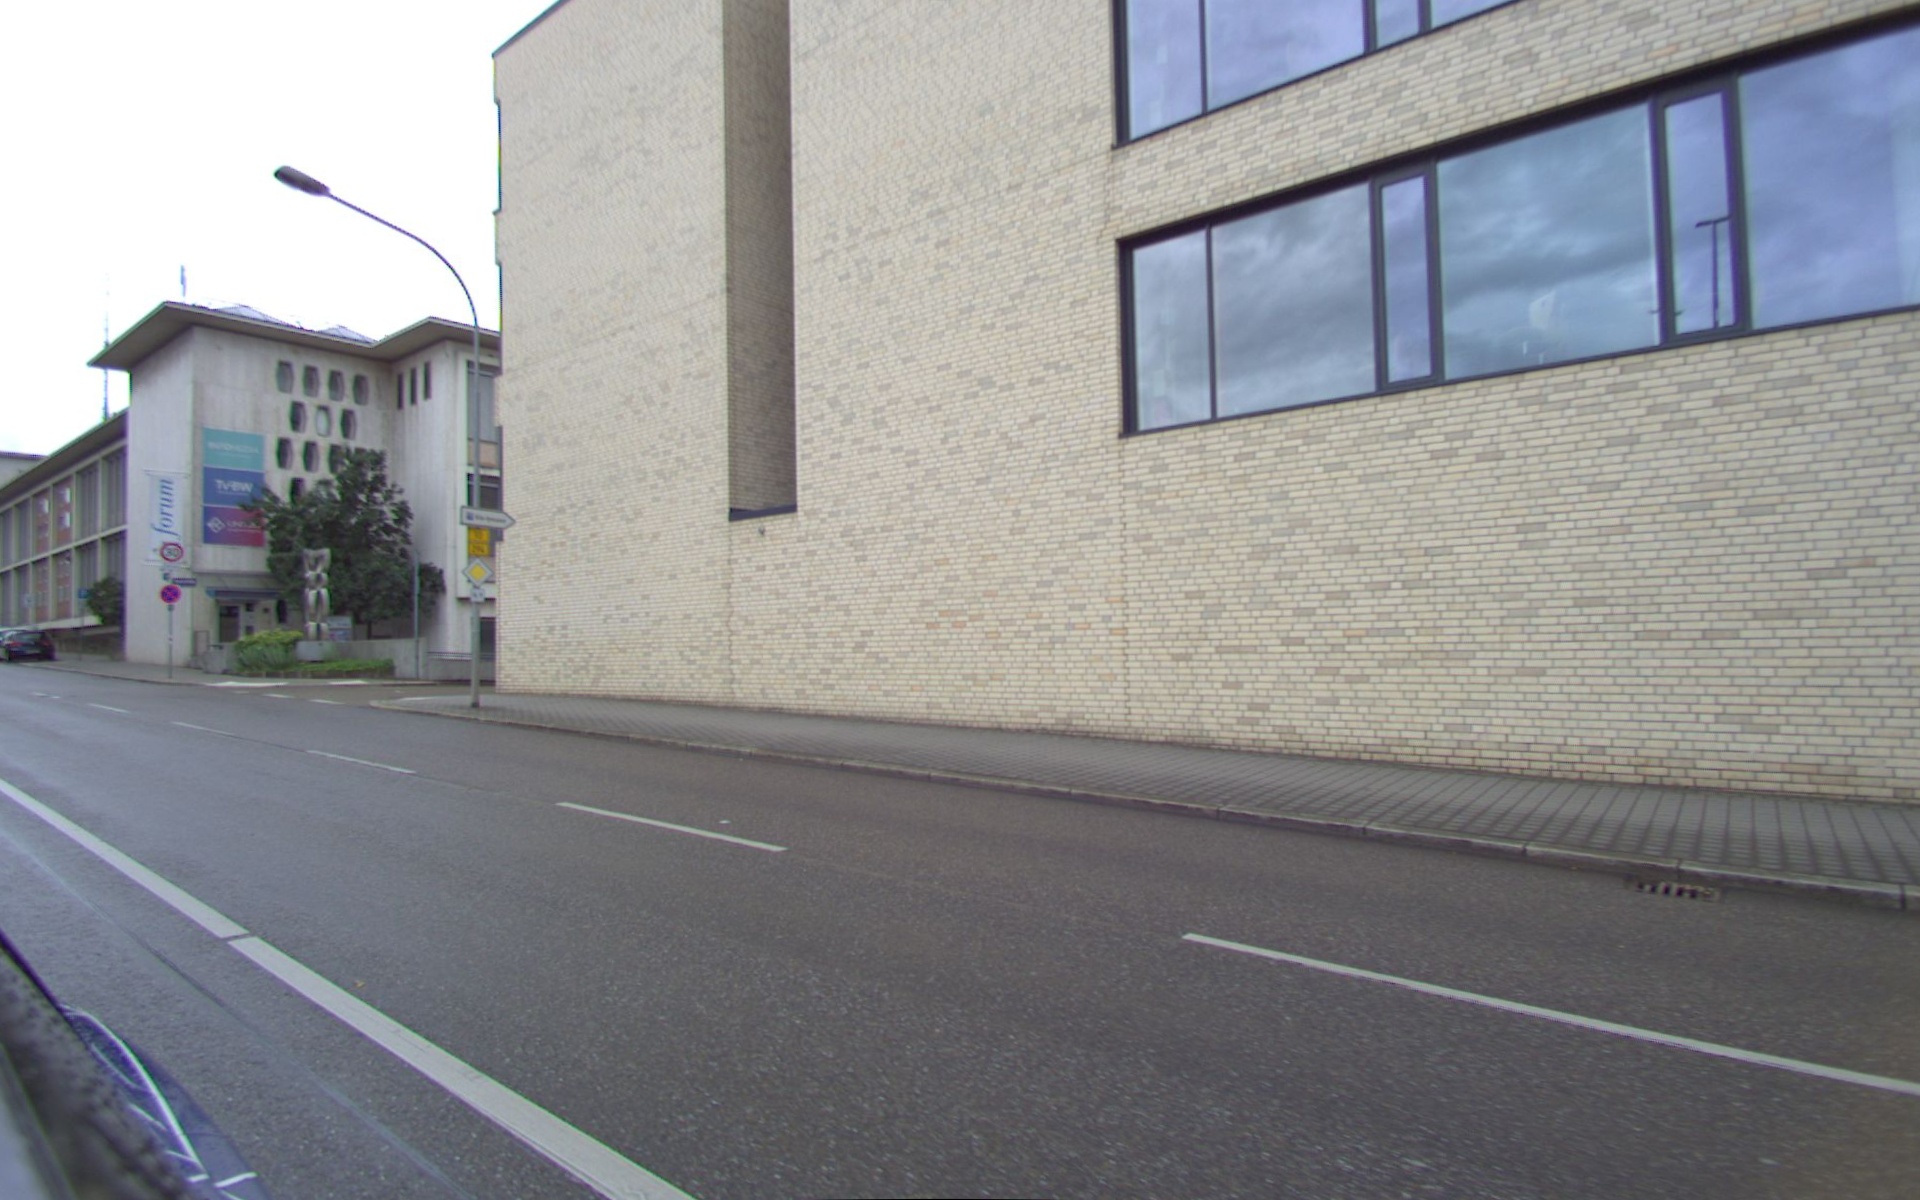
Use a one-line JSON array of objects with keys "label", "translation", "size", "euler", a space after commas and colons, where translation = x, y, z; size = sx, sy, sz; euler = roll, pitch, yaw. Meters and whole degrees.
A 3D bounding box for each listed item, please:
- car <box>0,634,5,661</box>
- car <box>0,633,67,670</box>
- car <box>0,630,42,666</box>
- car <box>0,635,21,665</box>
[{"label": "car", "translation": [-56.107, 2.719, 57.632], "size": [4.182, 1.502, 1.974], "euler": [-1, 0, 40]}, {"label": "car", "translation": [-43.917, 2.381, 47.720], "size": [3.994, 1.541, 1.975], "euler": [-1, 0, 37]}, {"label": "car", "translation": [-48.047, 2.401, 51.065], "size": [3.996, 1.654, 1.974], "euler": [-1, 0, 39]}, {"label": "car", "translation": [-51.905, 2.684, 54.181], "size": [3.997, 1.523, 1.973], "euler": [-1, 0, 40]}]
